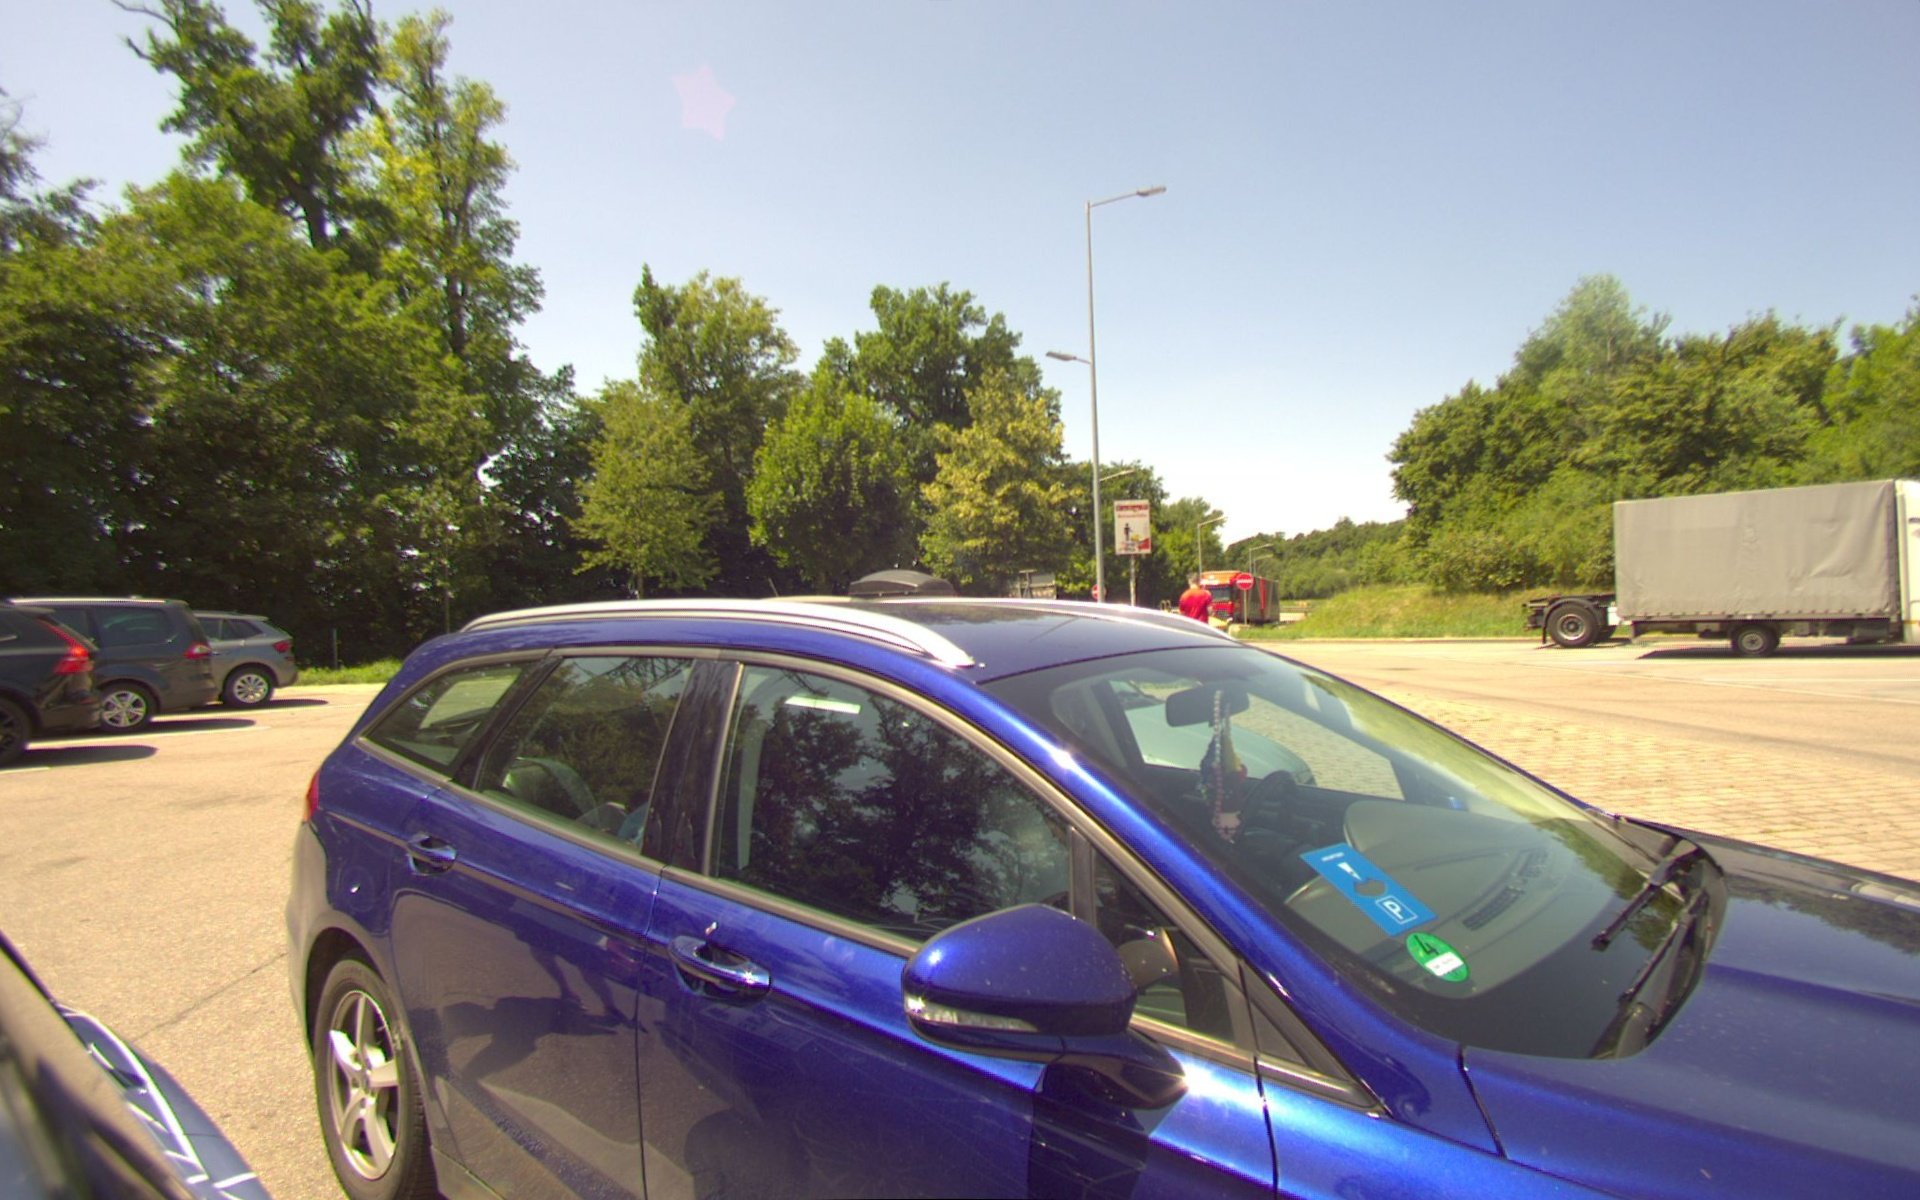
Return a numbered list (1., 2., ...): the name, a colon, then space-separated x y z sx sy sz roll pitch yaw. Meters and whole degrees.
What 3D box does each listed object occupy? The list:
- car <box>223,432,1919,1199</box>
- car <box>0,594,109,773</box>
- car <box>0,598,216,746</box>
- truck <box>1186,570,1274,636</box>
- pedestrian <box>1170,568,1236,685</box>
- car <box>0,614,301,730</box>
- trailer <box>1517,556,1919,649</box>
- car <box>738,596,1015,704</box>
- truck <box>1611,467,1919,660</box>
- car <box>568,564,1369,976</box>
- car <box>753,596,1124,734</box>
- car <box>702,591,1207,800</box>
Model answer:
1. car: 0.258 0.664 2.139 4.490 1.502 1.851 -3 0 40
2. car: -10.967 0.816 9.425 4.548 1.725 2.002 0 0 -44
3. car: -11.937 0.861 12.302 4.553 1.725 1.741 0 -1 -41
4. truck: 19.265 0.152 71.218 3.116 4.150 15.265 -1 0 26
5. pedestrian: 3.745 0.403 15.574 0.675 1.746 0.823 -2 -1 37
6. car: -12.591 1.006 15.467 1.687 1.515 3.943 -1 0 43
7. trailer: 17.259 0.129 23.392 7.295 1.701 2.235 -4 -1 43
8. car: -1.472 0.829 16.859 4.485 1.562 1.756 -3 -1 36
9. truck: 16.833 -0.652 18.964 7.295 3.259 2.709 -4 -1 43
10. car: -0.253 0.697 5.837 4.490 1.511 1.754 -3 -1 40
11. car: -0.380 0.778 12.759 4.485 1.437 1.756 -3 -1 36
12. car: -0.240 0.752 9.212 4.490 1.437 1.754 -3 -1 40
